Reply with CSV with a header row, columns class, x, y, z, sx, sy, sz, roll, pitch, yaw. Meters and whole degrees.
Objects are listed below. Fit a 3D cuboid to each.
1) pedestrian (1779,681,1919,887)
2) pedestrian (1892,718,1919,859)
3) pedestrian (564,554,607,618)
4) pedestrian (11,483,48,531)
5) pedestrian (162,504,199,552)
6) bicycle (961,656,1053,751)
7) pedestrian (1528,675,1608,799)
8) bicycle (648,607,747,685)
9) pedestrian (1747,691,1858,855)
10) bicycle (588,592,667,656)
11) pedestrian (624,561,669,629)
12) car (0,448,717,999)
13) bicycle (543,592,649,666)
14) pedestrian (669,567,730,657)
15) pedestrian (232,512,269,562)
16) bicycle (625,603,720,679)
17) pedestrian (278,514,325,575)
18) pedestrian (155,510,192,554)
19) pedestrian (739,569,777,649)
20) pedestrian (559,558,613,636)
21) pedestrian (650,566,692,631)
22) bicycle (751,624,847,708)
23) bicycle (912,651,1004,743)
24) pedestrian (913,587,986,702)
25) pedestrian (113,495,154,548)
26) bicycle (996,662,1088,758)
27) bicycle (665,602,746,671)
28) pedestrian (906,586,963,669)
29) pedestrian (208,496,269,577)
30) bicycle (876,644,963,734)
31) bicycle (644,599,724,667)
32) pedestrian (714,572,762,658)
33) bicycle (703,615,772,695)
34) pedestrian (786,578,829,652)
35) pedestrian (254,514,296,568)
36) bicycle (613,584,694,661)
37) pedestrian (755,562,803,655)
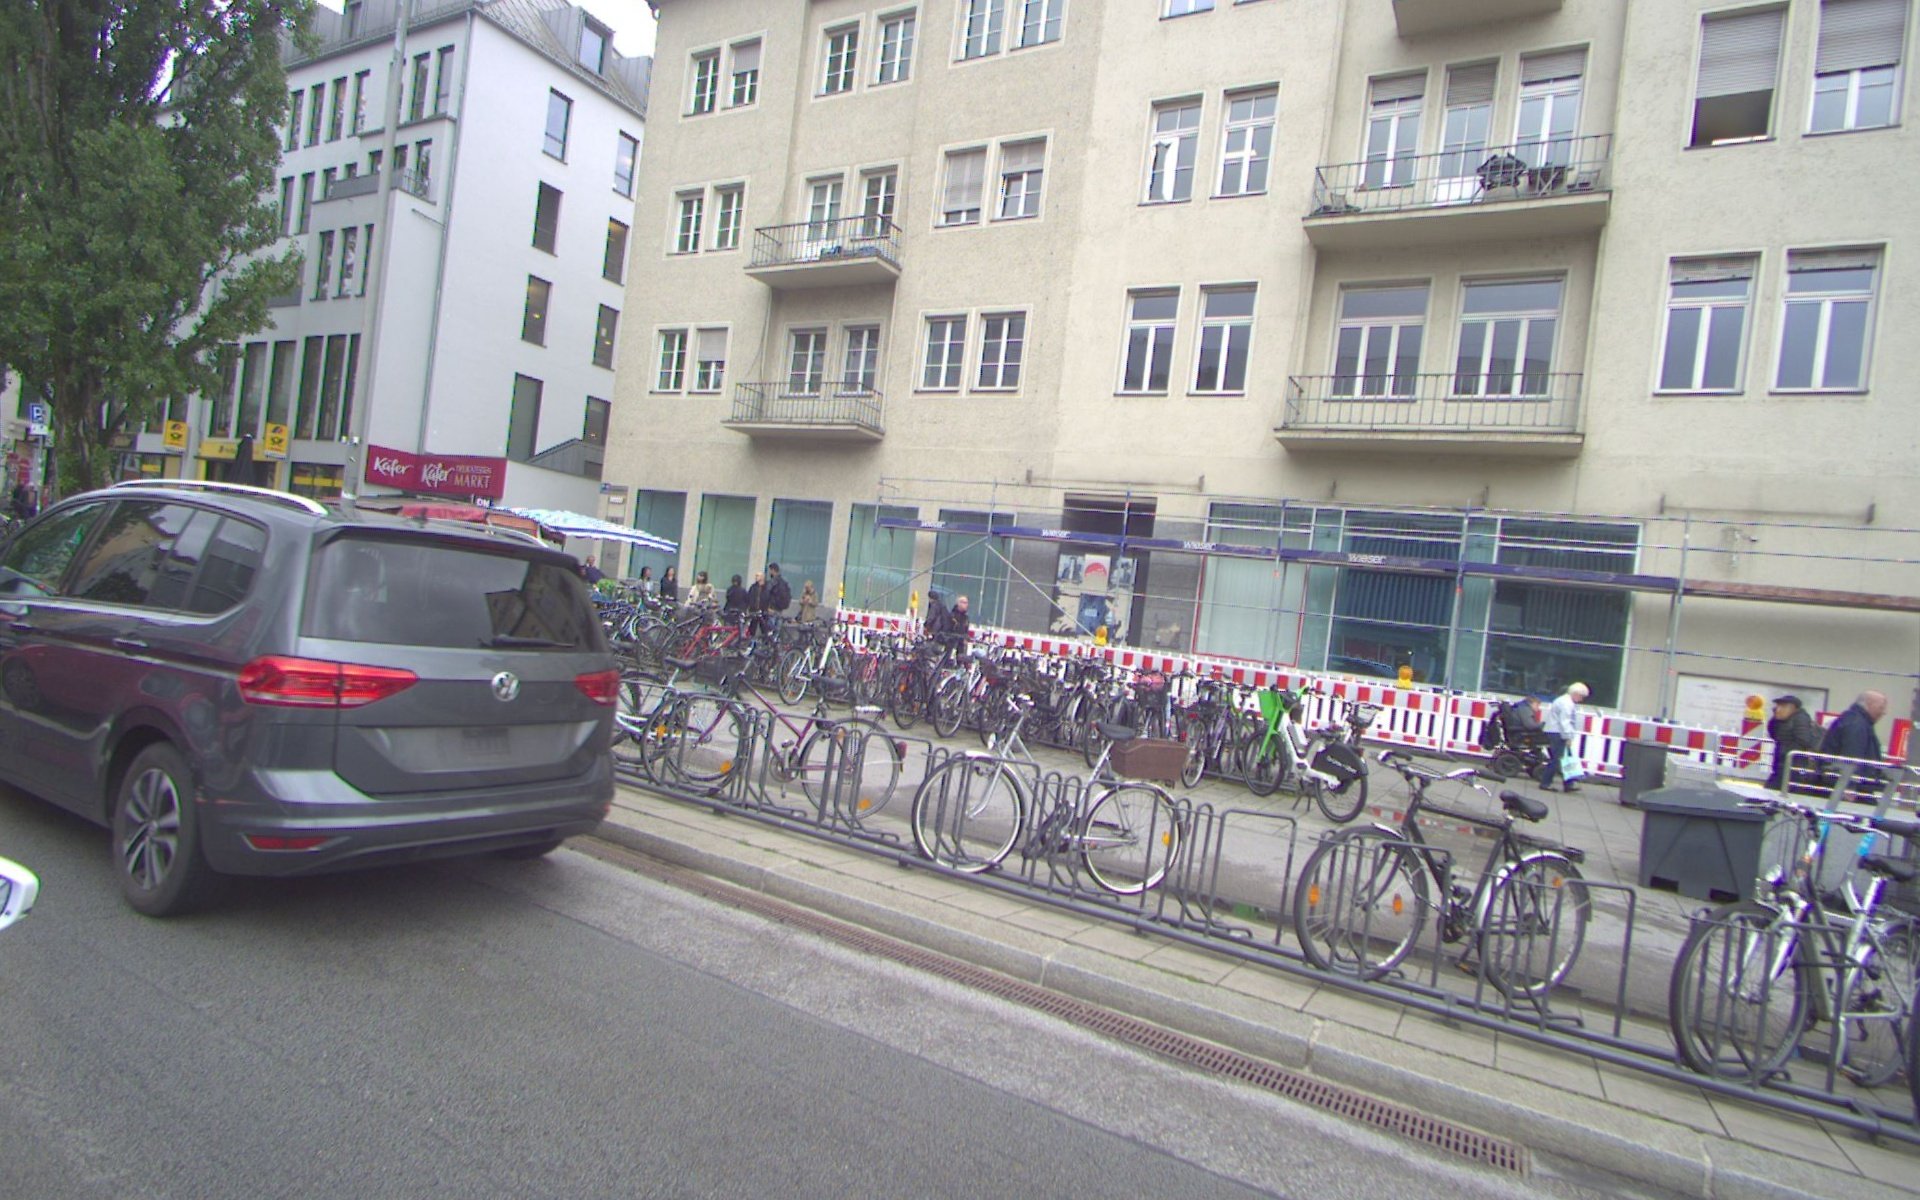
class,x,y,z,sx,sy,sz,roll,pitch,yaw
pedestrian,8.392,1.694,9.543,0.747,1.750,0.812,8,2,37
pedestrian,12.138,2.350,12.303,0.745,1.672,0.751,7,2,29
pedestrian,-8.902,-0.322,23.905,0.570,1.420,0.599,7,1,31
pedestrian,-34.527,-3.443,37.331,0.665,1.613,0.765,7,1,31
pedestrian,-27.813,-2.563,35.906,0.665,1.578,0.714,7,1,31
bicycle,0.544,1.163,11.337,0.363,0.975,1.133,7,0,36
pedestrian,8.381,1.864,13.904,0.745,1.537,0.778,7,2,29
bicycle,-3.622,0.652,13.930,0.364,0.975,1.259,8,0,40
pedestrian,9.604,1.941,11.502,0.709,1.692,0.657,8,2,32
bicycle,-5.479,0.409,16.633,0.363,0.975,1.246,7,0,29
pedestrian,-7.046,-0.110,22.608,0.570,1.420,0.599,7,1,31
car,-3.664,0.261,5.105,4.628,1.666,1.775,7,-1,30
bicycle,-5.337,0.441,14.819,0.363,0.975,1.431,7,0,36
pedestrian,-4.795,0.210,18.478,0.801,1.541,0.795,7,1,-26
pedestrian,-24.595,-2.184,34.894,0.665,1.578,0.714,7,1,31
bicycle,-4.029,0.598,14.170,0.363,0.975,1.262,7,0,34
pedestrian,-18.734,-1.572,28.632,0.729,1.622,0.733,7,1,31
pedestrian,-25.662,-2.213,32.831,0.665,1.322,0.639,7,1,31
pedestrian,-4.003,0.178,19.942,0.501,1.502,0.462,6,1,-24
pedestrian,-7.403,-0.060,19.906,0.648,1.443,0.616,7,1,36
pedestrian,-6.666,-0.033,23.210,0.570,1.420,0.575,7,1,31
bicycle,-2.013,0.834,12.760,0.363,0.975,1.405,7,0,26
bicycle,-0.006,1.117,11.660,0.363,0.975,1.181,7,0,35
pedestrian,-0.166,0.720,16.426,0.745,1.750,0.743,7,2,31
pedestrian,-26.677,-2.522,32.470,0.665,1.578,0.714,7,1,31
bicycle,0.920,1.209,11.129,0.363,0.975,1.133,7,0,36
bicycle,-3.933,0.583,15.610,0.363,0.993,1.246,7,0,29
pedestrian,-0.527,0.559,20.607,0.774,1.588,0.649,7,1,32
pedestrian,-16.824,-1.468,23.455,0.751,1.749,0.791,7,1,31
bicycle,-0.461,1.043,11.930,0.363,0.975,1.183,7,0,29
bicycle,-4.369,0.535,15.980,0.363,0.993,1.246,7,0,29
pedestrian,-4.184,0.280,18.940,0.574,1.524,0.612,6,1,-28
bicycle,-2.964,0.720,13.494,0.362,0.975,1.229,7,0,9
pedestrian,-3.606,0.352,23.807,0.553,1.665,0.641,7,1,31
pedestrian,-22.017,-1.891,32.343,0.729,1.622,0.733,7,1,31
bicycle,-4.921,0.382,16.206,0.363,1.154,1.246,7,0,29
pedestrian,-3.492,0.159,19.349,0.594,1.690,0.682,6,1,-24
